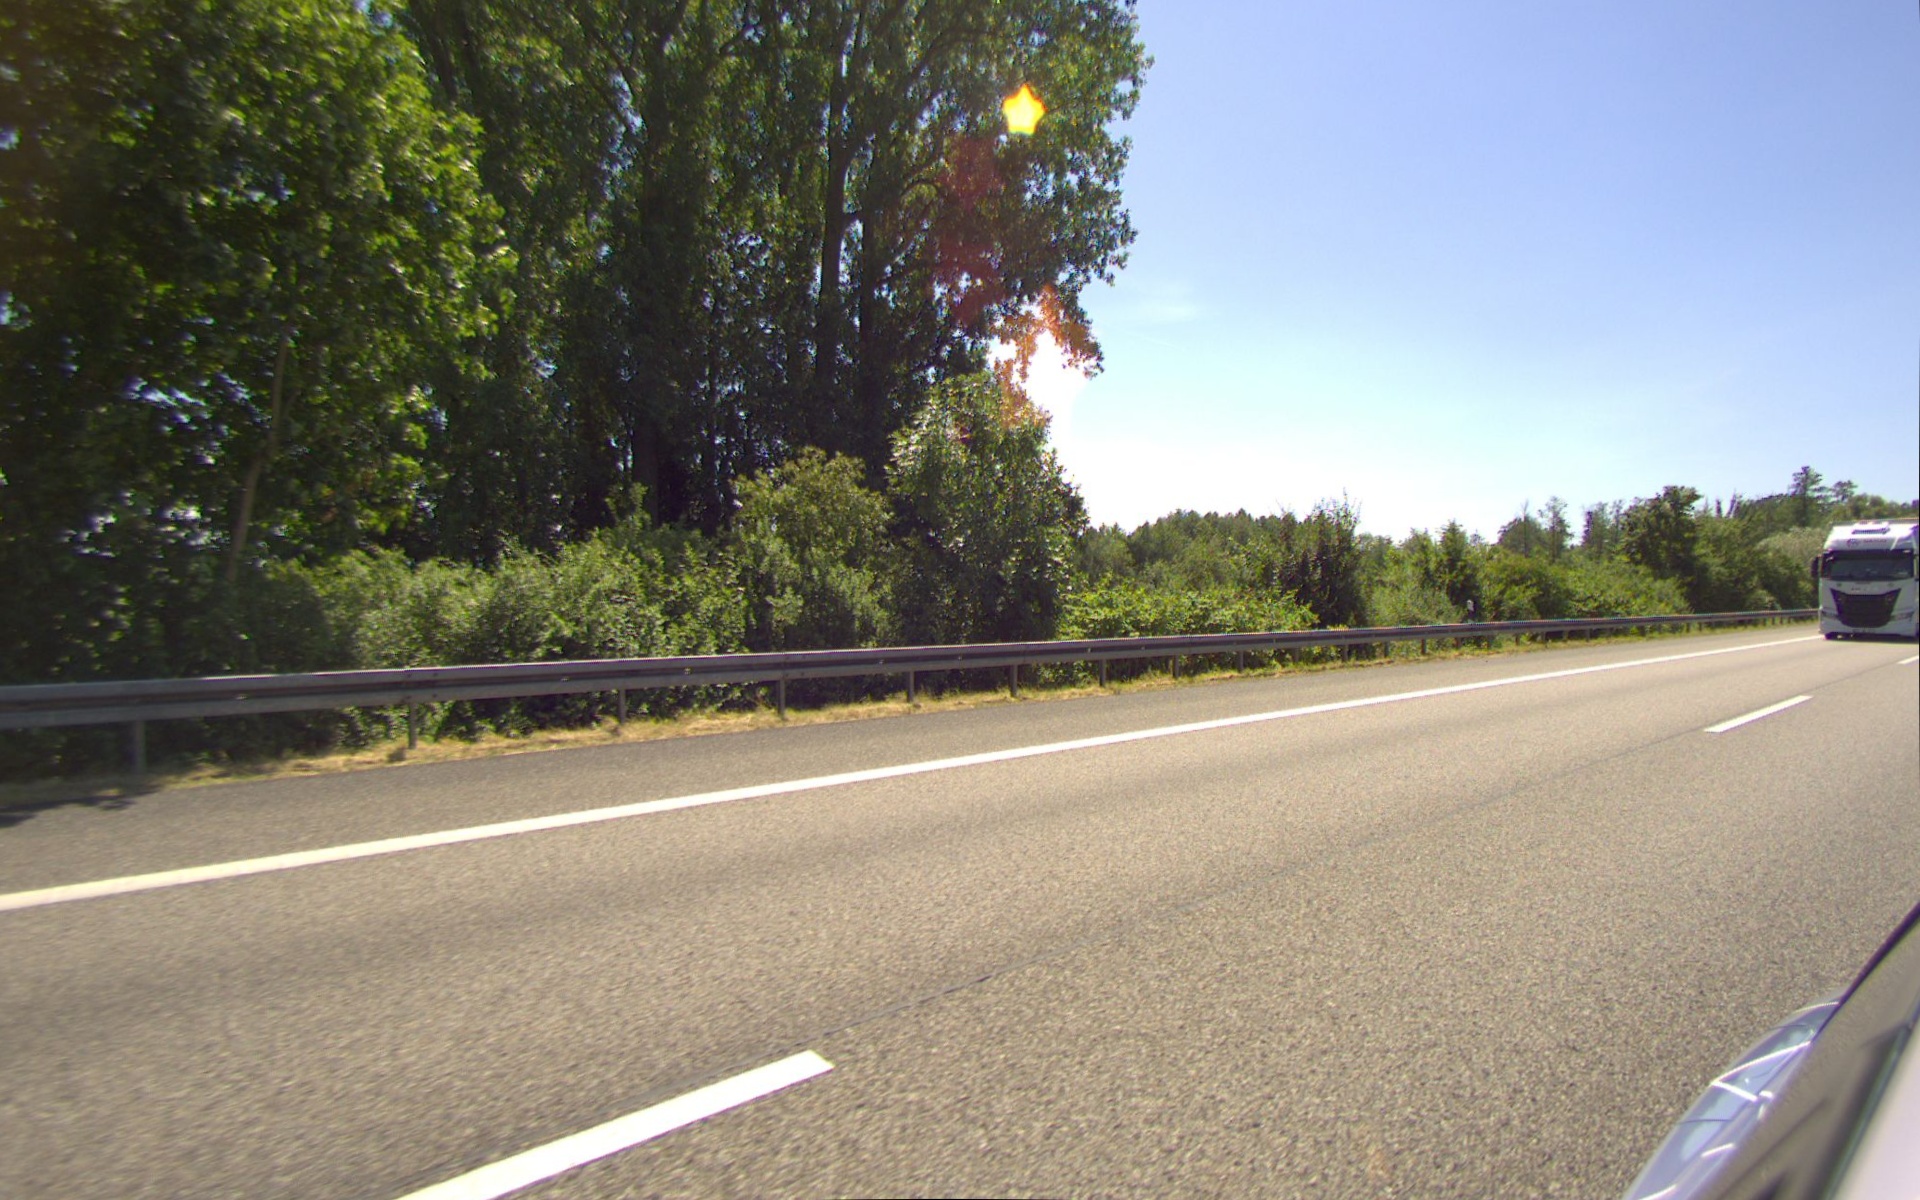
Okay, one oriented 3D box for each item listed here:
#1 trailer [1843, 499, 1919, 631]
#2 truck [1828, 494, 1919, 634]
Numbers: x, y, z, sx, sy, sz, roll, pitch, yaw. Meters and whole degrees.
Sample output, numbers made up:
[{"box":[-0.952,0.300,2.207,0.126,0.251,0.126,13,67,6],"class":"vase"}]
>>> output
[{"box":[37.677,-1.284,39.660,13.910,4.528,2.540,-1,1,-40],"class":"trailer"},{"box":[32.401,-1.203,35.181,5.474,4.528,2.541,-1,1,-40],"class":"truck"}]
